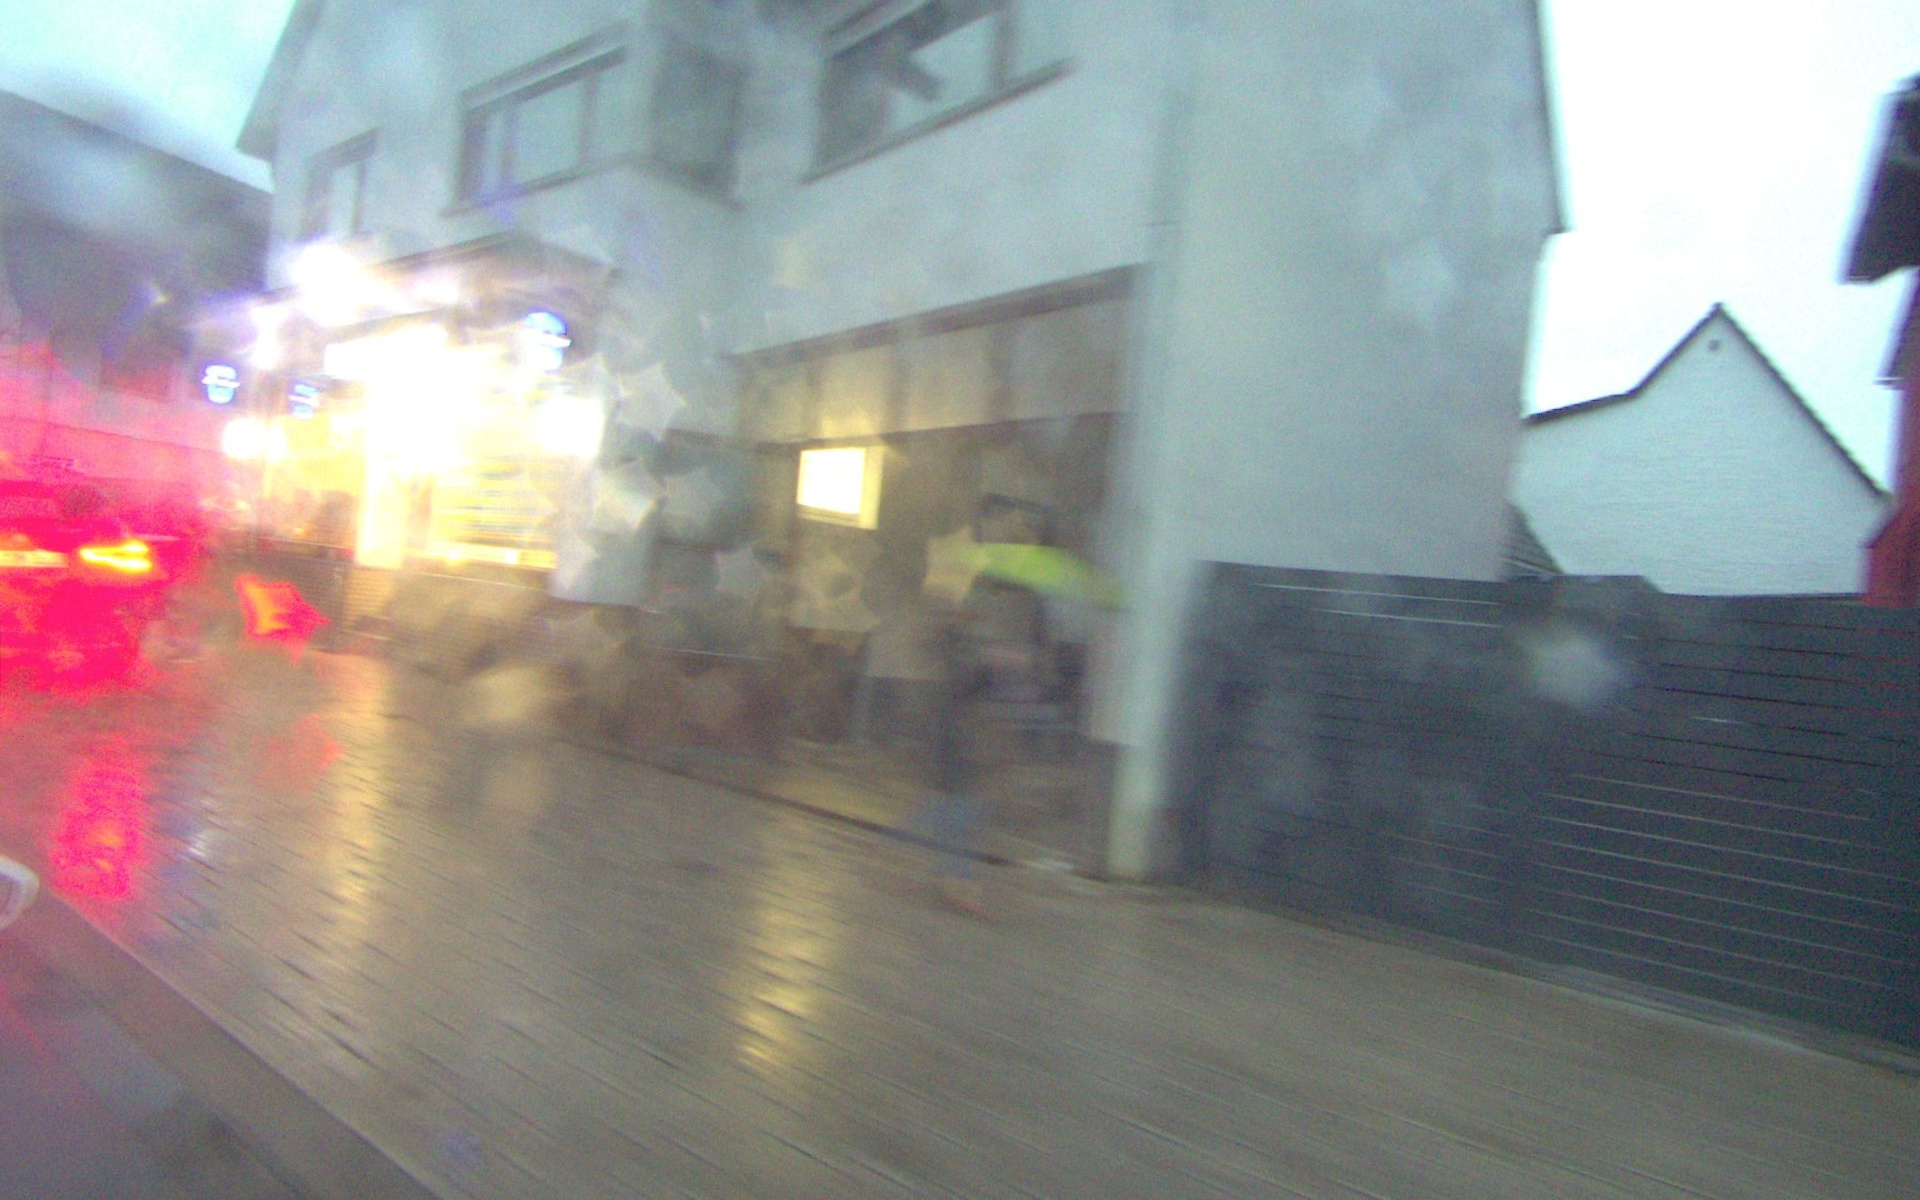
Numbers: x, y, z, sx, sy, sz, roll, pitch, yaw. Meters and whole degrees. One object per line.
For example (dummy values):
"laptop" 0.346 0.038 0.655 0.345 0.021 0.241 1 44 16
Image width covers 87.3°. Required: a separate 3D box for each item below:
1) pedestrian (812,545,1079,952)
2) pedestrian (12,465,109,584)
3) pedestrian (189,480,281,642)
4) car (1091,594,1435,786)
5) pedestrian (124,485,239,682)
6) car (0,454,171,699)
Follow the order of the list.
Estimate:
"pedestrian" -0.049 0.642 4.716 0.889 1.646 0.620 8 1 19
"pedestrian" -12.672 -1.056 14.185 0.720 1.534 0.620 8 1 19
"pedestrian" -8.243 -0.429 11.443 0.495 1.746 0.617 3 -3 44
"car" 3.499 0.994 11.225 3.975 1.613 1.865 7 0 -44
"pedestrian" -7.122 -0.146 9.210 0.642 1.722 0.573 6 2 34
"car" -8.501 -0.341 8.235 4.314 1.713 1.737 6 -1 32
